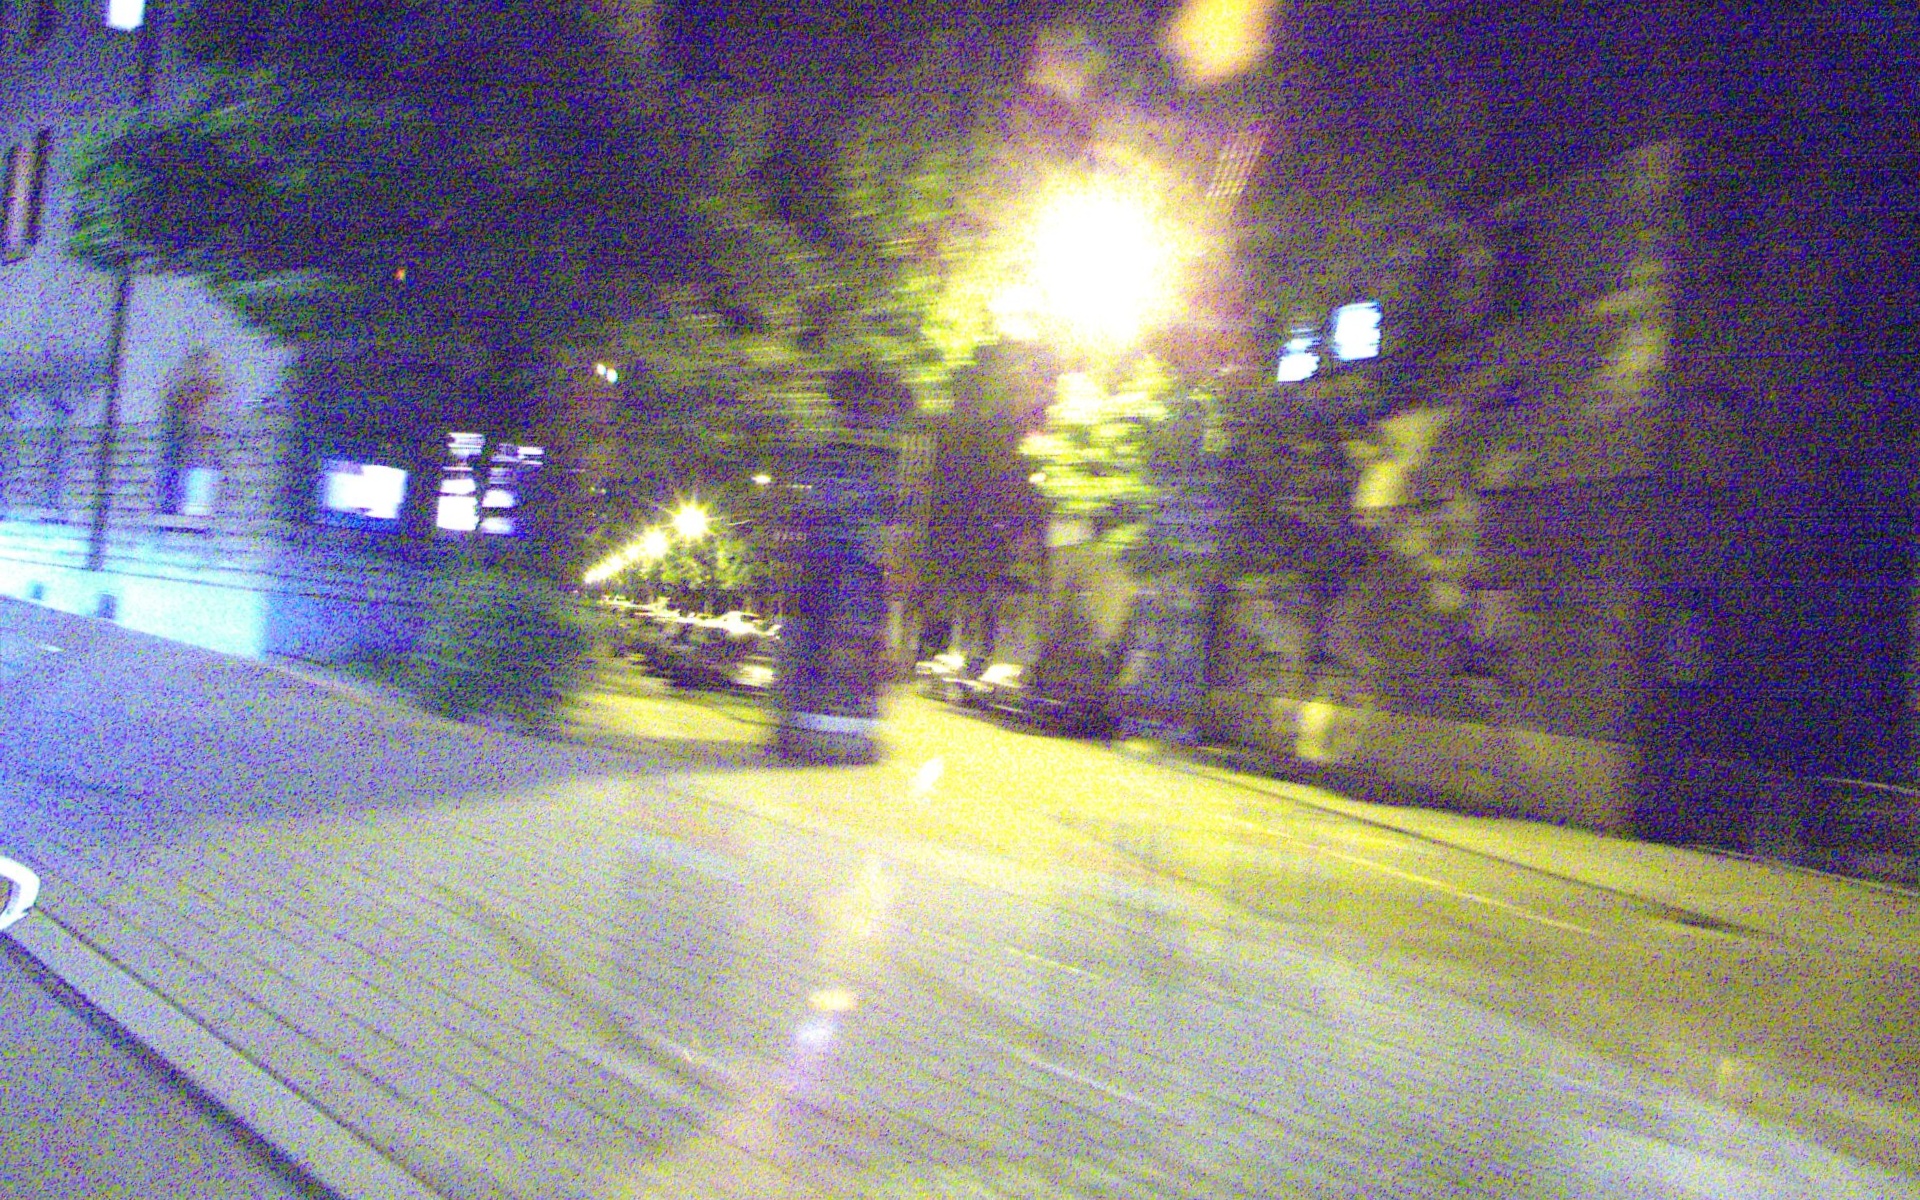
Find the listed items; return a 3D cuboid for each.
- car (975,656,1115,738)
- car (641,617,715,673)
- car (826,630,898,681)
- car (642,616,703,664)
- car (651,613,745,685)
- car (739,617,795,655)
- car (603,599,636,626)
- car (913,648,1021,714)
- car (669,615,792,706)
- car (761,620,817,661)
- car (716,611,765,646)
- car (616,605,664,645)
[{"bbox_3d":[1.954,2.294,24.413,1.778,1.433,3.822,8,-3,-21],"label":"car"},{"bbox_3d":[-8.841,1.363,31.332,1.751,1.356,3.903,8,-3,-21],"label":"car"},{"bbox_3d":[-3.937,2.168,39.882,1.777,1.597,3.823,8,-3,-19],"label":"car"},{"bbox_3d":[-10.901,1.467,37.988,1.751,1.433,3.903,8,-3,-21],"label":"car"},{"bbox_3d":[-6.812,1.209,25.898,1.778,1.433,3.822,8,-3,-21],"label":"car"},{"bbox_3d":[-11.225,2.077,58.226,1.977,1.783,3.975,9,-3,-27],"label":"car"},{"bbox_3d":[-21.498,0.780,63.674,1.749,1.457,3.907,8,-3,-18],"label":"car"},{"bbox_3d":[0.123,2.328,29.428,1.778,1.433,3.822,8,-3,-21],"label":"car"},{"bbox_3d":[-4.756,1.165,20.474,1.778,1.433,3.822,8,-3,-21],"label":"car"},{"bbox_3d":[-9.008,2.102,52.794,1.973,1.723,3.978,8,-3,-21],"label":"car"},{"bbox_3d":[-14.190,1.830,64.900,1.977,1.822,3.975,8,-3,-27],"label":"car"},{"bbox_3d":[-14.939,1.142,46.874,1.751,1.518,3.903,8,-3,-21],"label":"car"}]
